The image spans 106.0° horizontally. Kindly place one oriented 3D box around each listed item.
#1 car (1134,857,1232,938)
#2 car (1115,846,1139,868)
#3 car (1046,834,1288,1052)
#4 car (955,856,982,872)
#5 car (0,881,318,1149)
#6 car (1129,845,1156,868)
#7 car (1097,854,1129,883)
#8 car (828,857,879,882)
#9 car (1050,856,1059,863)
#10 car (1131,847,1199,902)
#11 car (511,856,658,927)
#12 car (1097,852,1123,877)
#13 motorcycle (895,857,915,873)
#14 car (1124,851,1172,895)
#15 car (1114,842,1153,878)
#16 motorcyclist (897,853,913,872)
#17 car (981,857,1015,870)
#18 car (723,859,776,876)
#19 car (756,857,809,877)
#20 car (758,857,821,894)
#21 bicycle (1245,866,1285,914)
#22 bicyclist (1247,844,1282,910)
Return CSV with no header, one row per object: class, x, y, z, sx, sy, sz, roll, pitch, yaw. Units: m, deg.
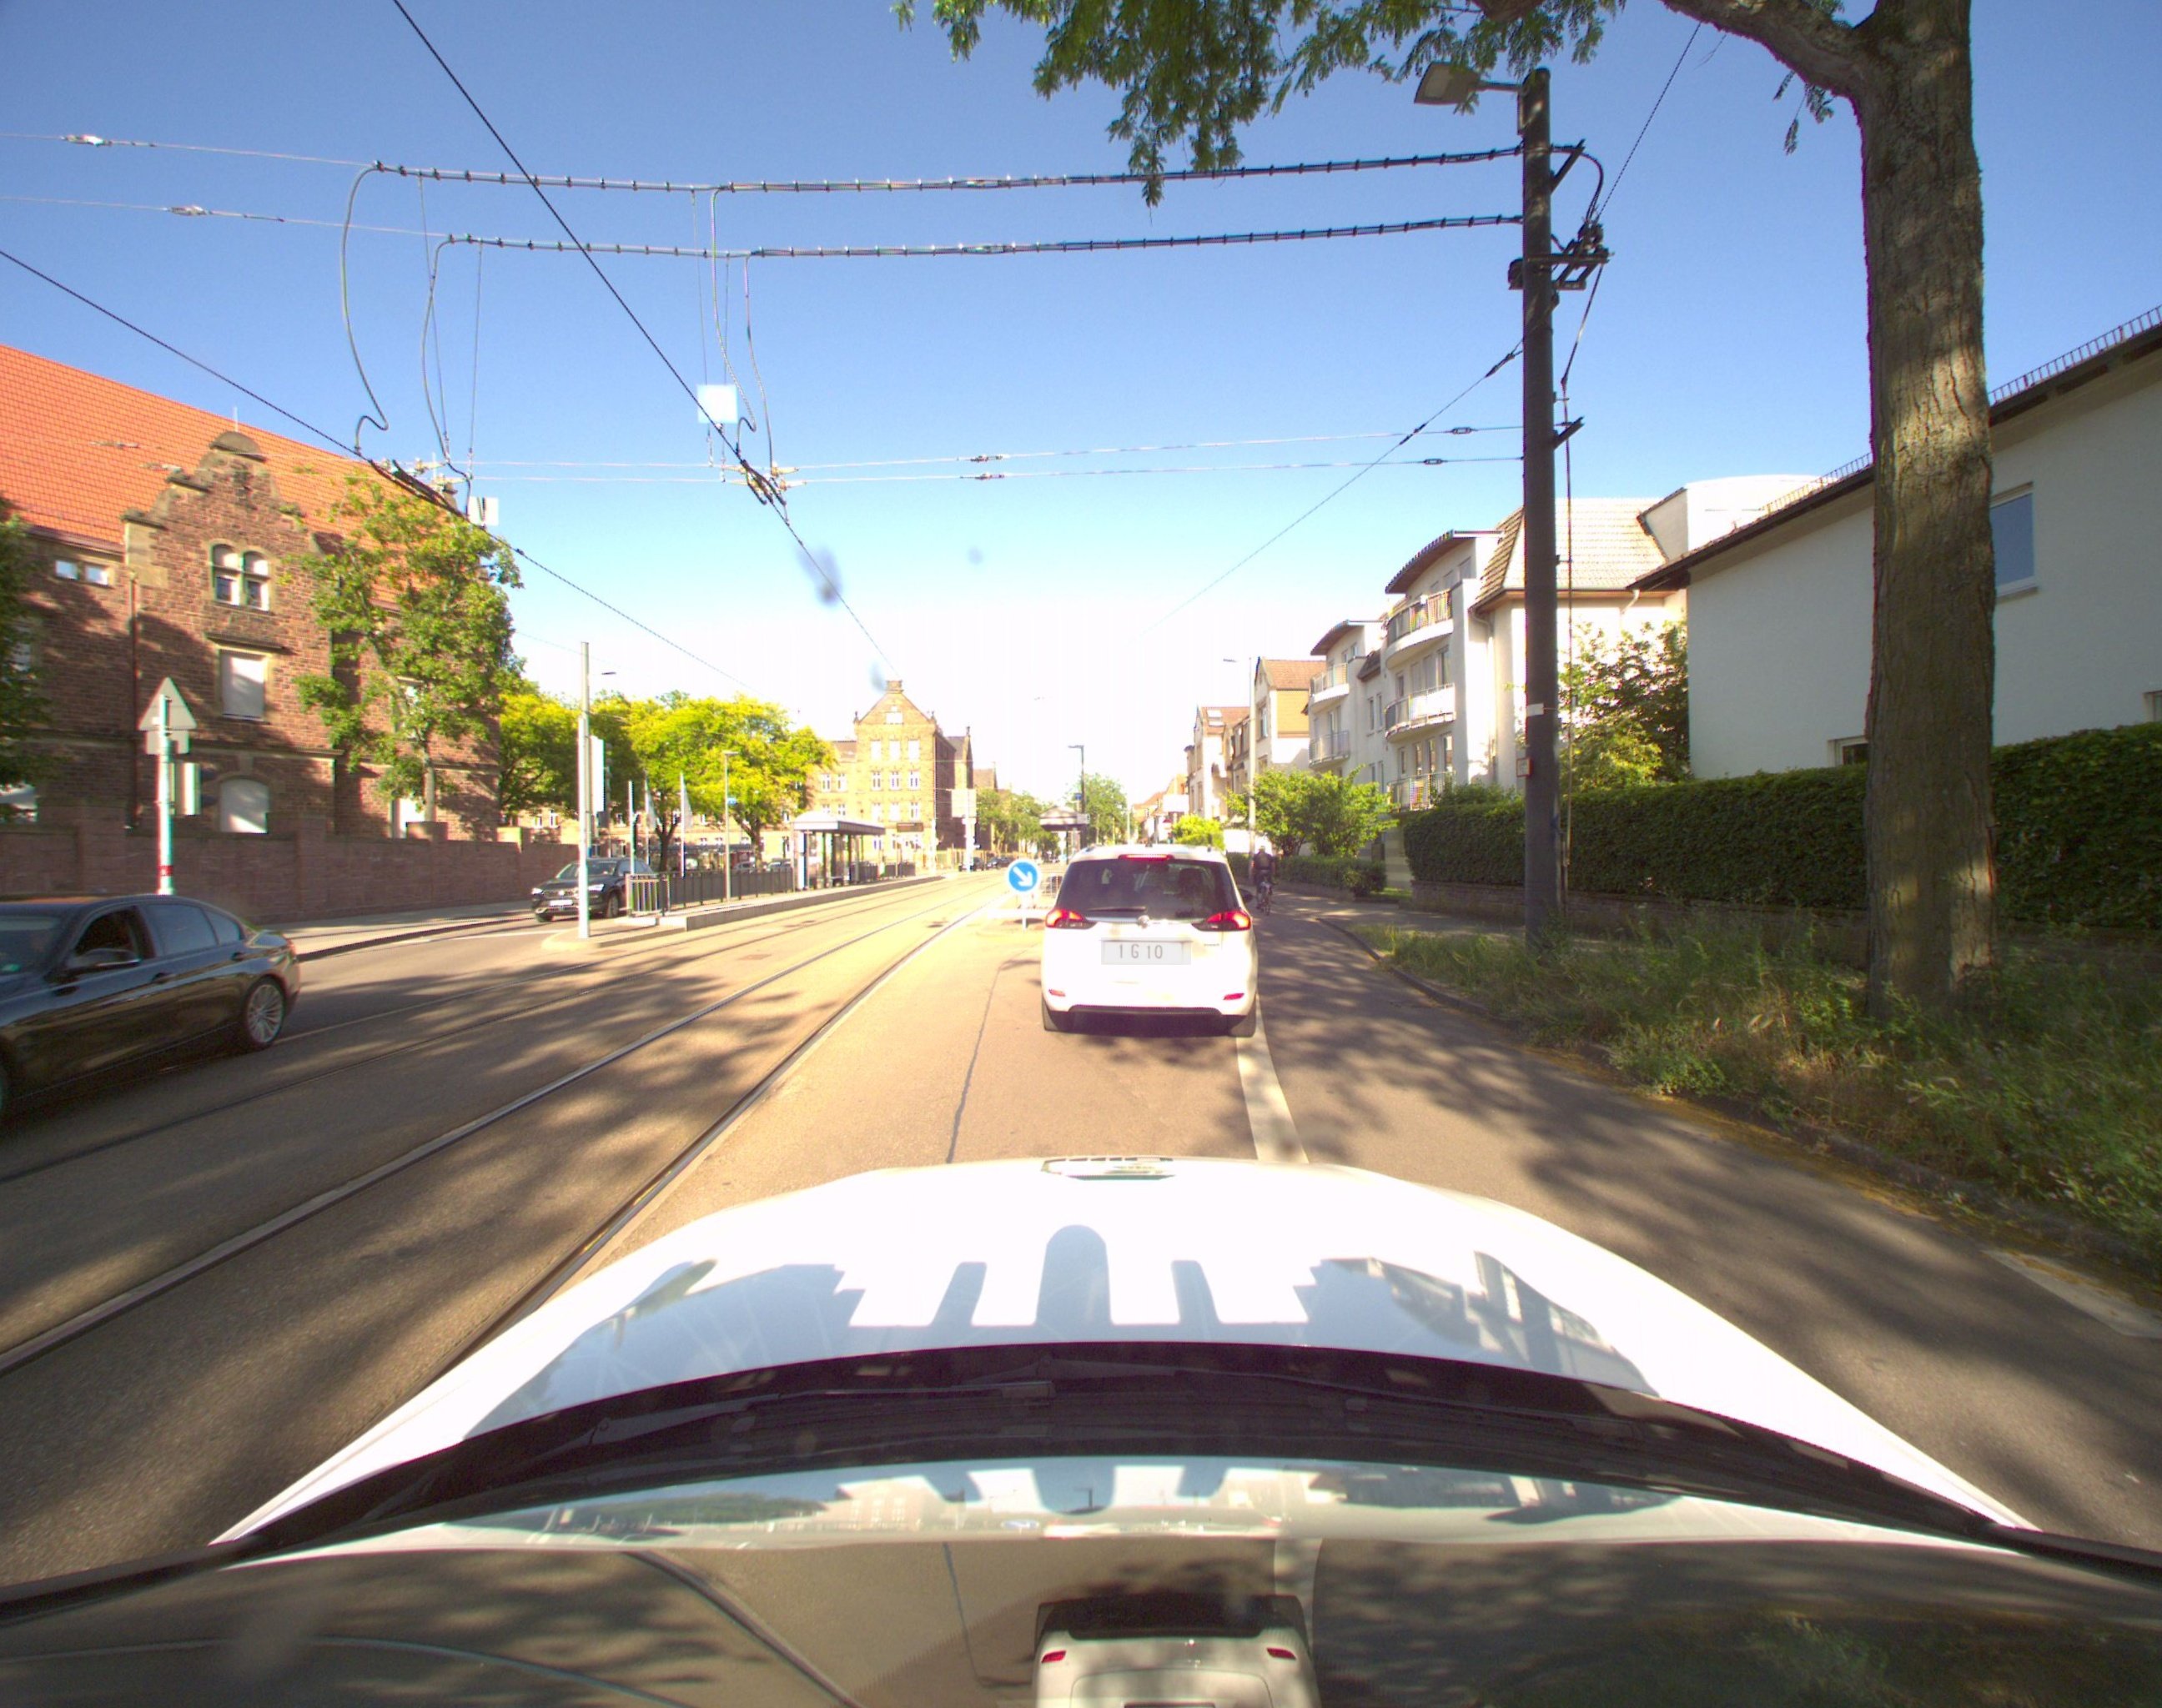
car,1.974,0.796,16.745,1.581,1.420,3.901,-1,0,1
car,3.605,0.249,64.394,1.769,1.632,3.881,0,-1,1
car,0.656,0.689,8.151,1.829,1.642,3.918,0,-1,0
car,-11.347,1.017,82.325,1.986,1.546,4.001,0,-1,2
car,-7.303,0.960,5.425,1.742,1.422,4.230,-1,0,-21
car,4.471,0.201,59.332,1.769,1.632,3.881,0,-1,1
car,1.891,0.826,47.938,1.769,1.632,3.882,0,-1,2
car,-13.919,0.887,50.020,1.878,1.415,4.622,-1,0,-1
car,-6.219,1.312,193.258,1.901,1.677,4.356,-1,0,-1
car,2.635,0.640,26.373,1.770,1.632,3.879,0,-1,-1
car,-12.942,0.908,21.555,1.921,1.616,4.102,-2,0,-10
car,2.008,0.742,57.220,1.769,1.692,3.881,0,-1,1
motorcycle,-14.005,0.876,64.859,1.128,1.243,2.569,0,-1,-4
car,2.624,0.738,32.518,1.768,1.632,3.883,0,-1,3
car,2.478,0.278,39.189,1.769,1.632,3.882,0,-1,1
motorcyclist,-14.002,0.673,64.802,1.122,1.525,1.053,0,-1,-5
car,-9.993,1.138,98.280,1.974,1.546,4.025,-1,-1,36
car,-30.315,1.248,74.643,4.050,1.522,1.878,0,-1,1
car,-25.409,1.103,69.420,3.844,1.660,1.751,0,-1,1
car,-14.061,0.994,39.532,1.793,1.637,4.112,-2,0,-5
bicycle,4.667,0.890,20.751,0.683,1.157,1.620,0,-1,2
bicyclist,4.665,0.576,20.755,0.683,1.634,1.016,0,-1,2
